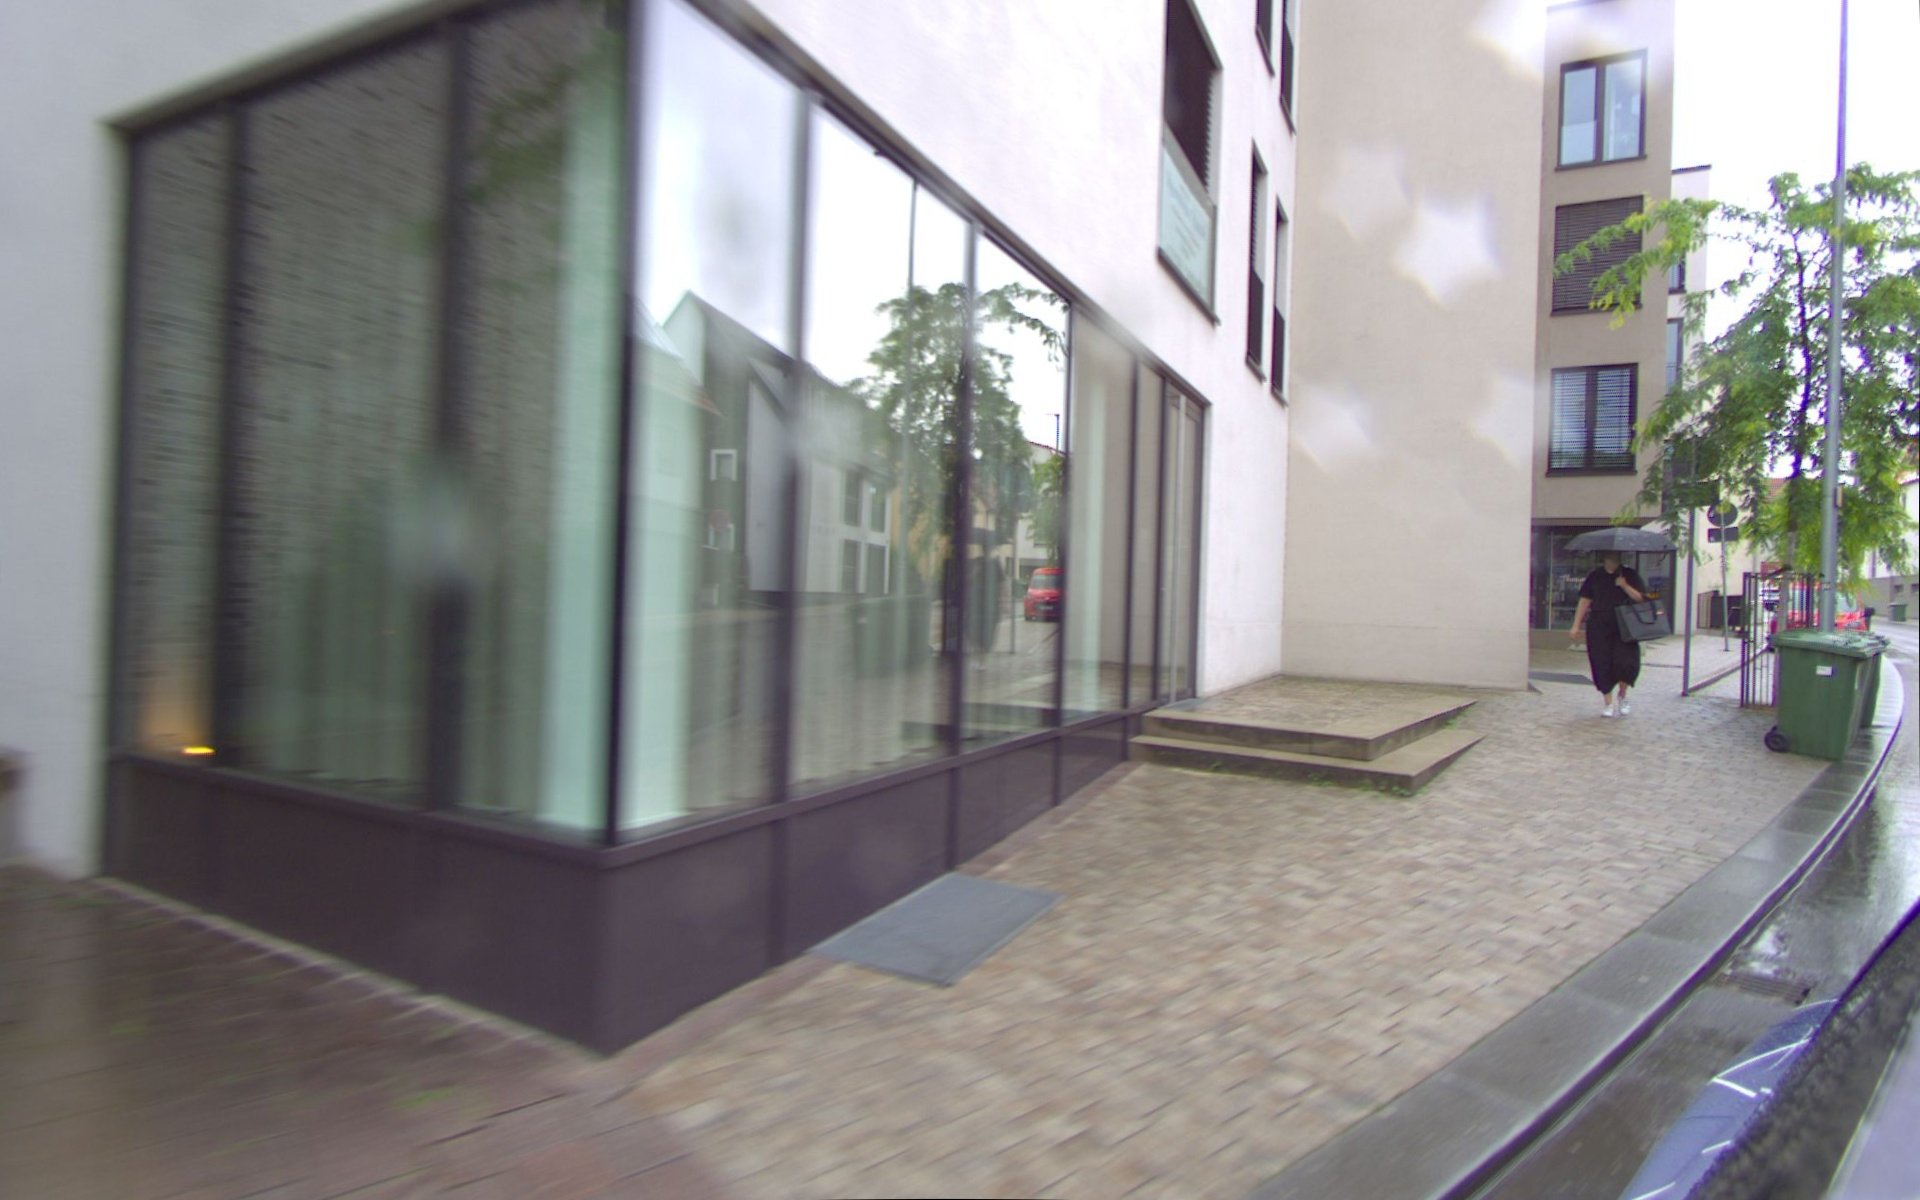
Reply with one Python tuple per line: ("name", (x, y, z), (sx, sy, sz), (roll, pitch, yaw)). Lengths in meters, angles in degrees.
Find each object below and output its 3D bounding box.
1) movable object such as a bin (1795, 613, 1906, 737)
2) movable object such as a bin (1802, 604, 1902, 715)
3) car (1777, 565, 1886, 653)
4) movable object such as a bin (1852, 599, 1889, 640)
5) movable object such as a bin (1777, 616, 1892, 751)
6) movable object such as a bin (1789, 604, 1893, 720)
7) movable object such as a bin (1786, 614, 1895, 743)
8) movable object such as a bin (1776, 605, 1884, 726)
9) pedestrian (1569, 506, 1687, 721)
("movable object such as a bin", (8.769, 0.706, 9.973), (0.613, 1.132, 0.762), (0, 1, -43))
("movable object such as a bin", (10.250, 0.655, 11.634), (0.619, 1.185, 0.753), (0, 2, -40))
("car", (21.863, 0.136, 25.363), (1.835, 1.930, 4.535), (4, 4, 42))
("movable object such as a bin", (25.542, 0.530, 28.389), (0.708, 1.101, 0.592), (3, 2, 41))
("movable object such as a bin", (7.912, 0.728, 9.162), (0.567, 1.132, 0.724), (0, 1, -43))
("movable object such as a bin", (9.753, 0.663, 11.209), (0.619, 1.185, 0.753), (0, 2, -40))
("movable object such as a bin", (8.321, 0.717, 9.569), (0.567, 1.132, 0.724), (0, 1, -43))
("movable object such as a bin", (9.253, 0.673, 10.772), (0.619, 1.185, 0.753), (0, 2, -40))
("pedestrian", (6.809, 0.113, 10.303), (0.866, 2.039, 1.066), (1, 1, 41))
